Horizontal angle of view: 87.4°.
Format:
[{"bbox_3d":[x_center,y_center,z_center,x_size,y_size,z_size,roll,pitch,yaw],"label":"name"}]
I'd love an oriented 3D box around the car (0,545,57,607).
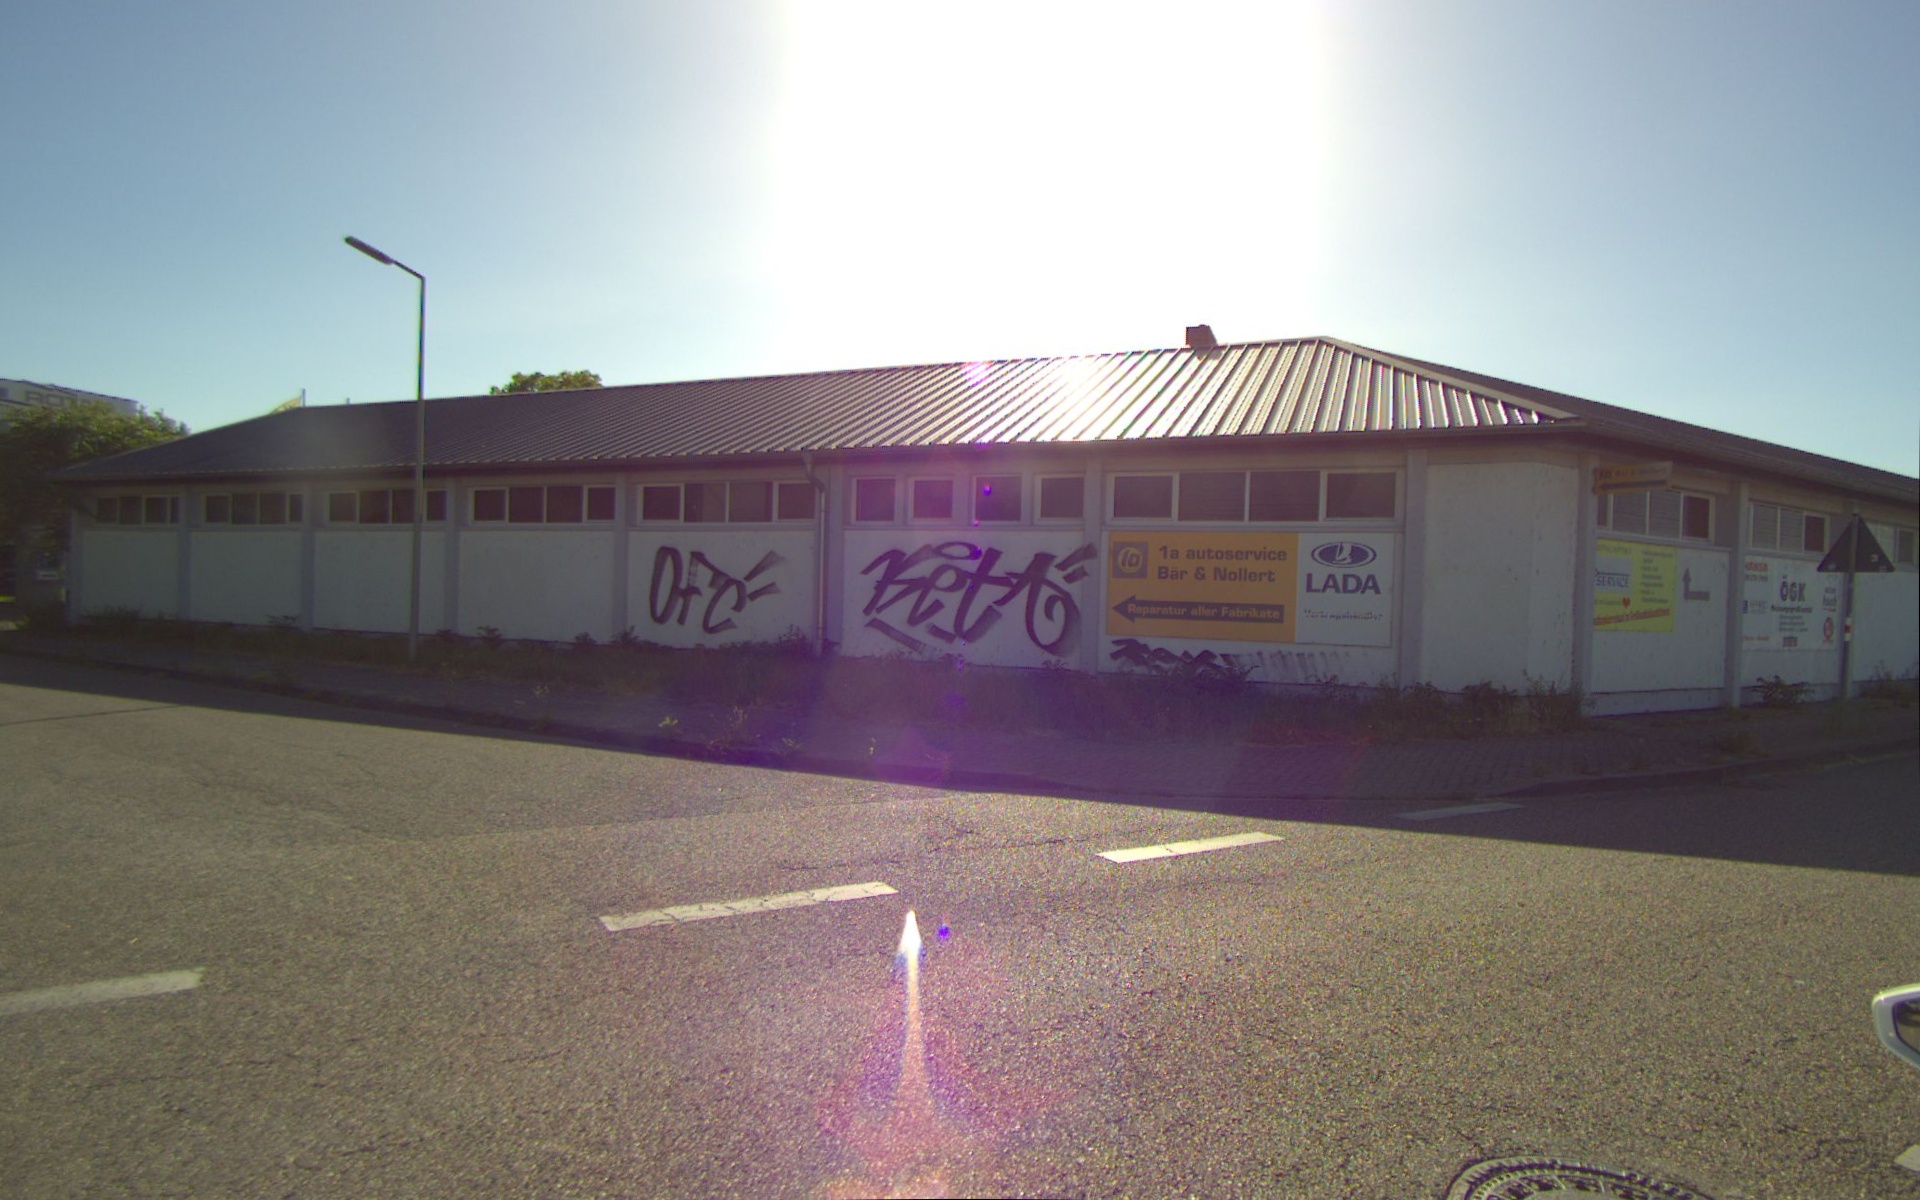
[{"bbox_3d":[-40.974,-1.015,42.242,5.099,2.506,2.001,2,0,16],"label":"car"}]
